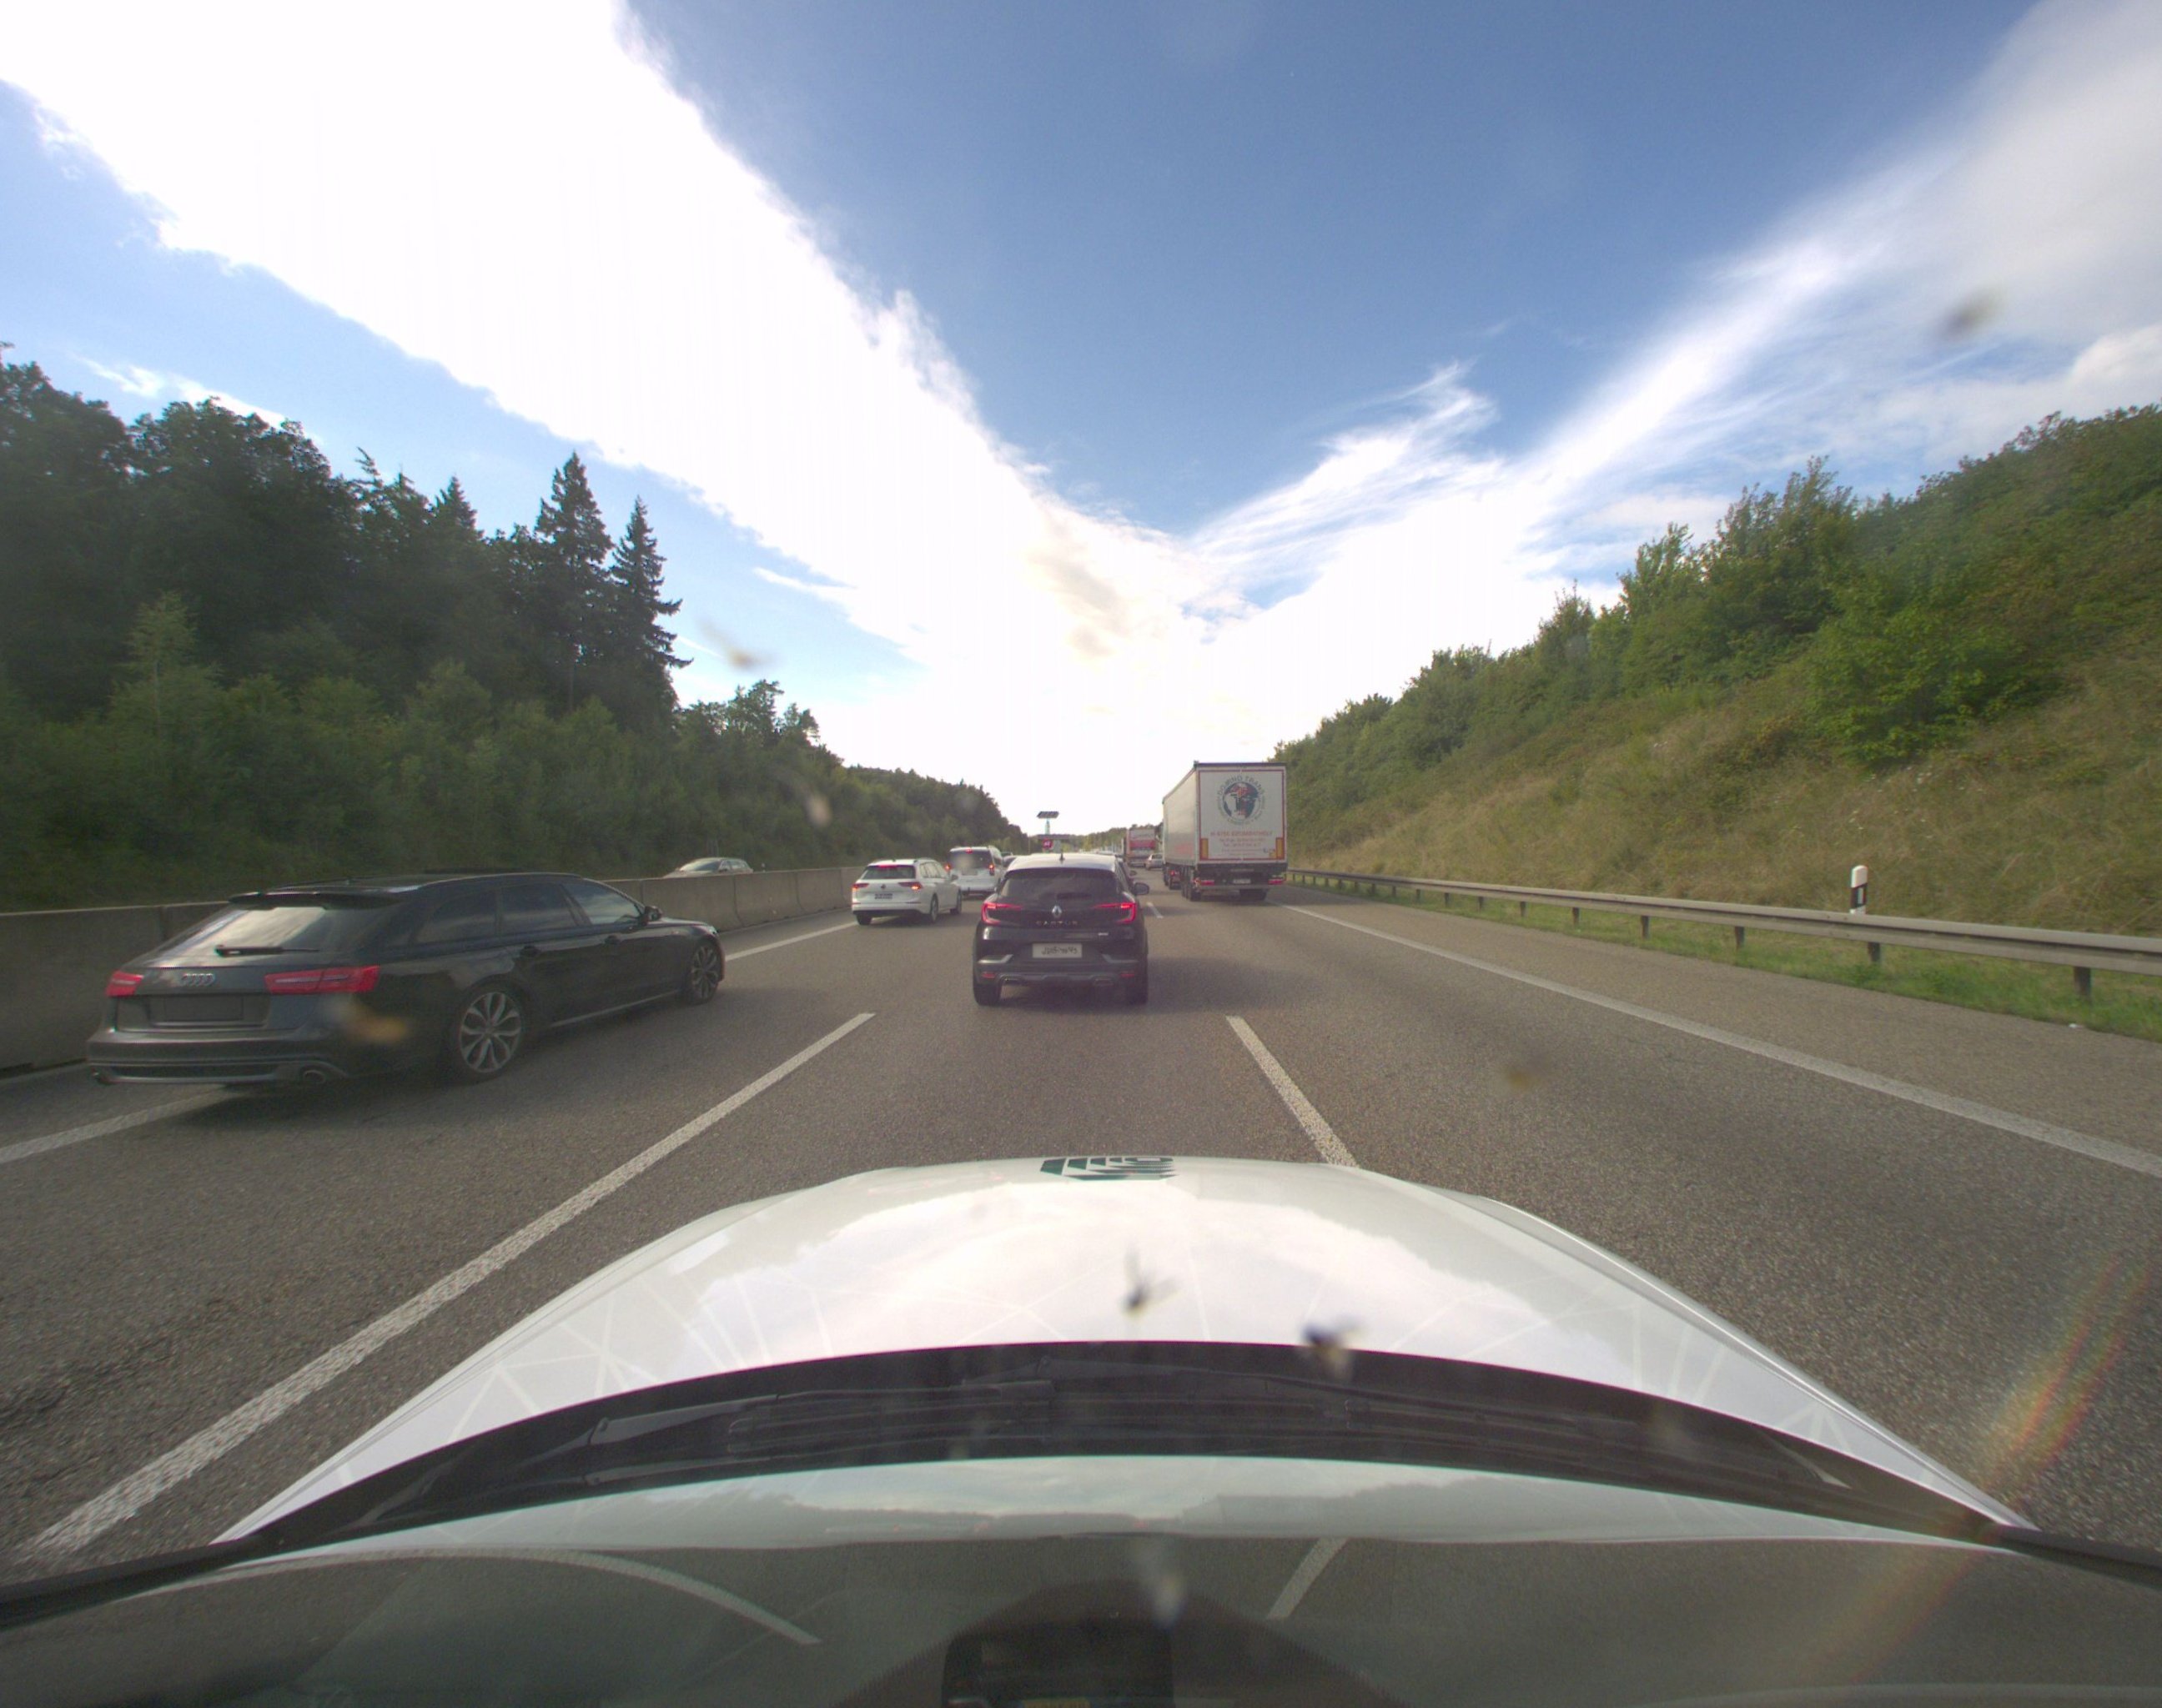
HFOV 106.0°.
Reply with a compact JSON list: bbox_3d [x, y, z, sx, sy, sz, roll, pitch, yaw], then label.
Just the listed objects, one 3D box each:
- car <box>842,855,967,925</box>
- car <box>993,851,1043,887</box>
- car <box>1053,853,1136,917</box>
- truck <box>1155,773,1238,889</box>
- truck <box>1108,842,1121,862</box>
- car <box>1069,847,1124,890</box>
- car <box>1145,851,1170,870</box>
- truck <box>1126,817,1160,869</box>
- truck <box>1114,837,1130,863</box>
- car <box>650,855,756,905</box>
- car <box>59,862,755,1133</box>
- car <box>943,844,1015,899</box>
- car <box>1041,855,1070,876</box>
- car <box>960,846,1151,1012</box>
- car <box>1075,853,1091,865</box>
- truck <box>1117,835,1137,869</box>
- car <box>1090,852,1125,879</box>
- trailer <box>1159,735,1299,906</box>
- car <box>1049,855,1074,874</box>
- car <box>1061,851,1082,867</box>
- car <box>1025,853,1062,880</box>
[{"bbox_3d":[-4.040,0.784,19.413,1.797,1.461,4.312,-1,0,3],"label":"car"},{"bbox_3d":[-2.957,0.693,38.824,1.848,1.641,3.929,0,0,3],"label":"car"},{"bbox_3d":[0.432,0.758,21.609,1.985,1.514,4.003,0,0,3],"label":"car"},{"bbox_3d":[4.967,-0.955,36.126,2.985,4.667,5.942,-1,0,2],"label":"truck"},{"bbox_3d":[8.814,-0.455,210.532,3.153,5.159,12.747,0,0,3],"label":"truck"},{"bbox_3d":[0.669,0.535,31.458,1.985,1.514,4.003,0,0,3],"label":"car"},{"bbox_3d":[6.515,0.556,69.732,1.798,1.533,3.926,0,0,1],"label":"car"},{"bbox_3d":[6.449,-1.017,86.523,3.351,5.044,12.747,0,0,3],"label":"truck"},{"bbox_3d":[8.983,-0.848,177.672,3.152,5.505,12.752,0,0,4],"label":"truck"},{"bbox_3d":[-14.667,0.943,31.921,1.845,1.810,4.627,0,0,2],"label":"car"},{"bbox_3d":[-4.770,0.837,6.971,1.835,1.456,4.751,0,0,3],"label":"car"},{"bbox_3d":[-3.554,0.598,29.068,1.905,1.789,4.418,0,0,1],"label":"car"},{"bbox_3d":[-1.978,0.884,65.372,1.985,1.613,4.003,0,0,3],"label":"car"},{"bbox_3d":[-0.084,0.721,9.719,1.796,1.552,4.005,-1,0,5],"label":"car"},{"bbox_3d":[0.266,0.632,114.787,1.985,1.613,4.003,-1,0,3],"label":"car"},{"bbox_3d":[7.679,-0.267,135.458,3.153,5.505,12.747,0,0,3],"label":"truck"},{"bbox_3d":[1.603,0.652,48.552,1.985,1.514,4.003,0,0,3],"label":"car"},{"bbox_3d":[4.720,-0.933,29.059,2.990,4.661,13.296,-1,0,2],"label":"trailer"},{"bbox_3d":[-1.699,0.937,72.905,1.985,1.613,4.003,0,0,3],"label":"car"},{"bbox_3d":[-1.018,0.549,87.523,1.985,1.613,4.003,-1,0,3],"label":"car"},{"bbox_3d":[-2.410,0.799,53.214,1.985,1.722,4.003,0,0,3],"label":"car"}]
